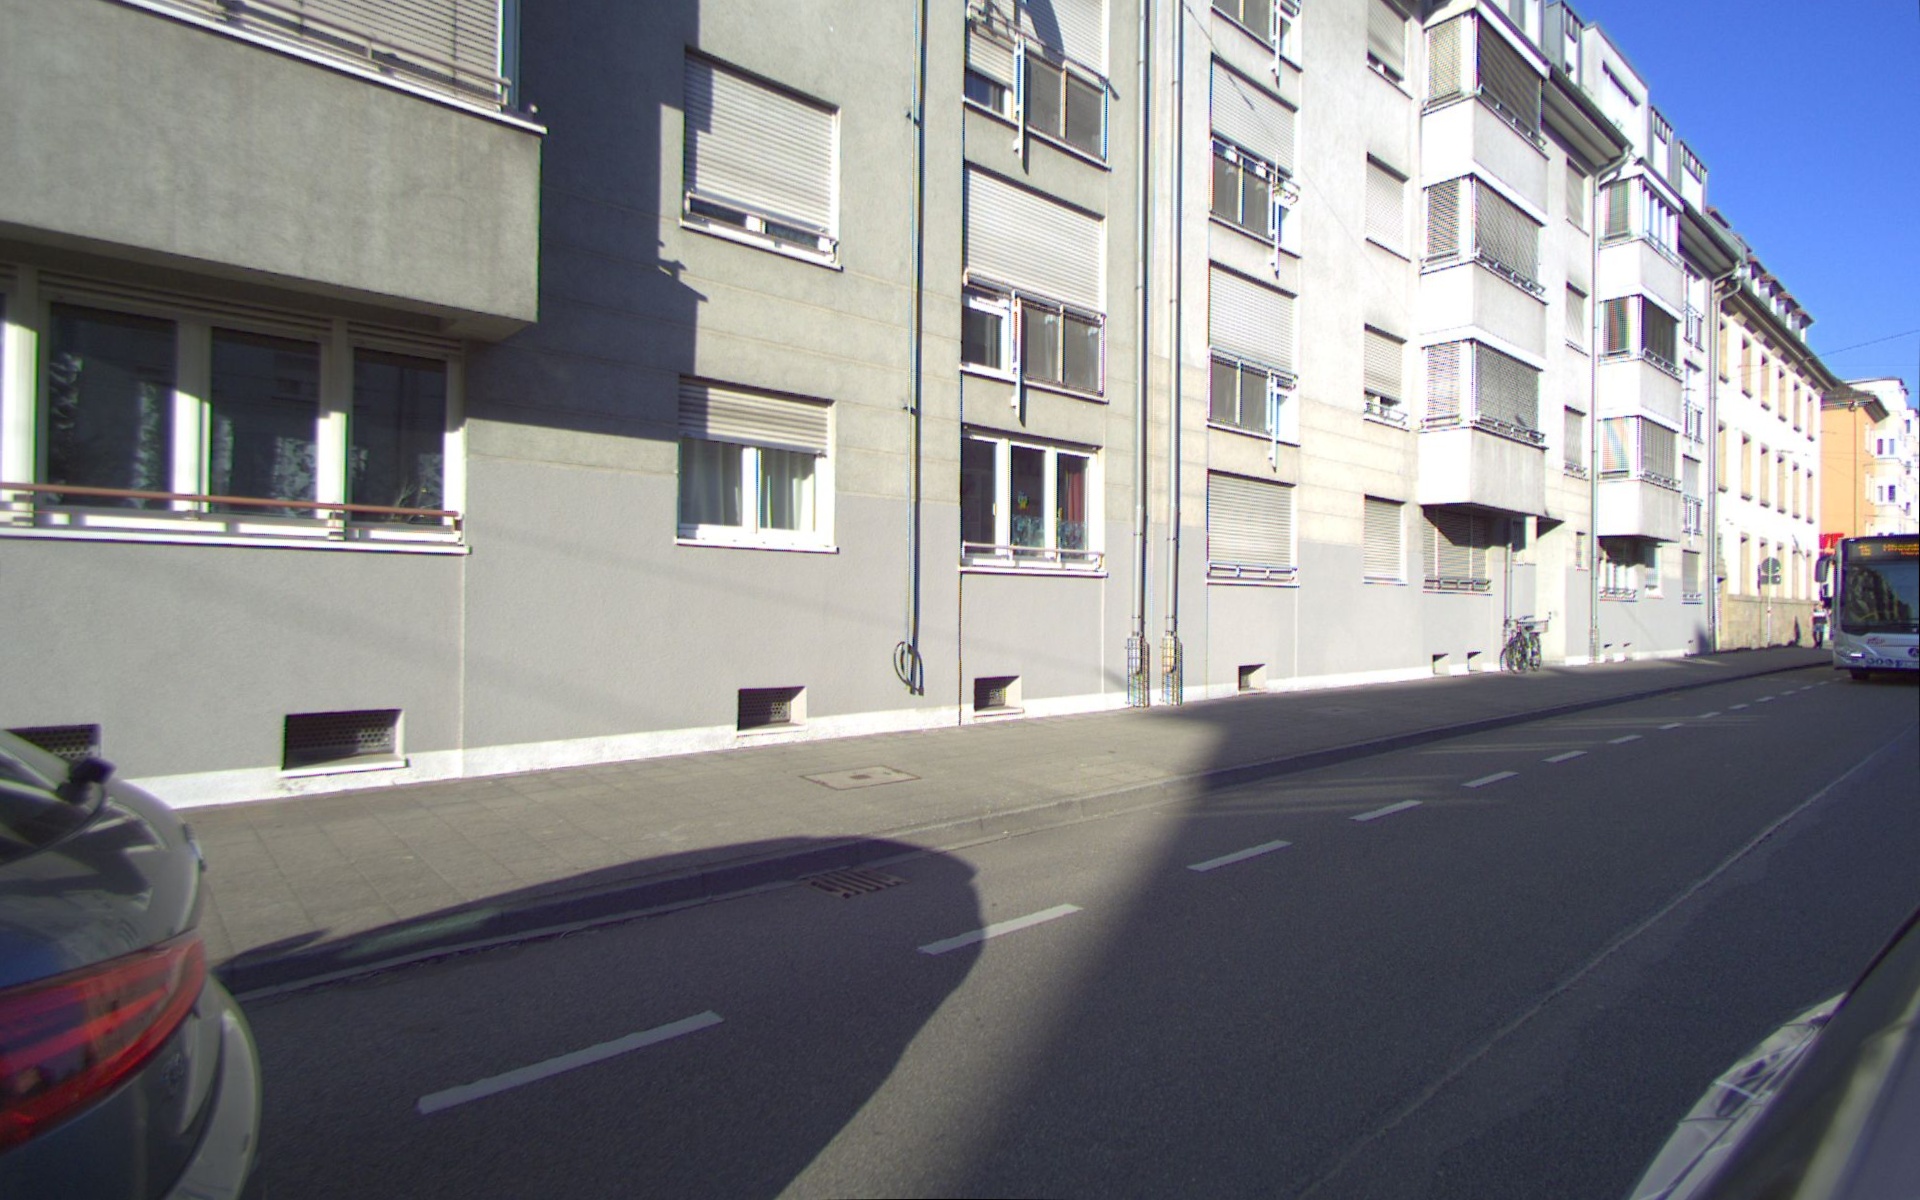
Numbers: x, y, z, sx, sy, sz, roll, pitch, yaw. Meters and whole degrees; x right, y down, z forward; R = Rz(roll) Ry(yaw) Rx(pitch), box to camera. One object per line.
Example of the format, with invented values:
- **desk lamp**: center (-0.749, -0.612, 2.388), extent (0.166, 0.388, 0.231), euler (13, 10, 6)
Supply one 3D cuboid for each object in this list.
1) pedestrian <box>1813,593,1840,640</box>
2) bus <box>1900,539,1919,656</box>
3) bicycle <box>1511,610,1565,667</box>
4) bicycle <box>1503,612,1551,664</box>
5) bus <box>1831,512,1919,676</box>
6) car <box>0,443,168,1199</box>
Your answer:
- **pedestrian**: center (33.307, 0.639, 38.895), extent (0.549, 1.753, 0.648), euler (1, 2, -41)
- **bus**: center (29.989, -0.048, 29.569), extent (10.416, 3.116, 2.709), euler (0, 0, -42)
- **bicycle**: center (11.281, 0.728, 19.737), extent (1.700, 1.044, 0.360), euler (0, 2, -42)
- **bicycle**: center (11.360, 0.752, 20.252), extent (1.700, 0.983, 0.279), euler (0, 2, -42)
- **bus**: center (22.180, -0.090, 22.634), extent (10.416, 3.116, 2.728), euler (0, 0, -42)
- **car**: center (-2.882, 0.640, 0.387), extent (3.996, 1.607, 1.770), euler (1, 0, -40)
